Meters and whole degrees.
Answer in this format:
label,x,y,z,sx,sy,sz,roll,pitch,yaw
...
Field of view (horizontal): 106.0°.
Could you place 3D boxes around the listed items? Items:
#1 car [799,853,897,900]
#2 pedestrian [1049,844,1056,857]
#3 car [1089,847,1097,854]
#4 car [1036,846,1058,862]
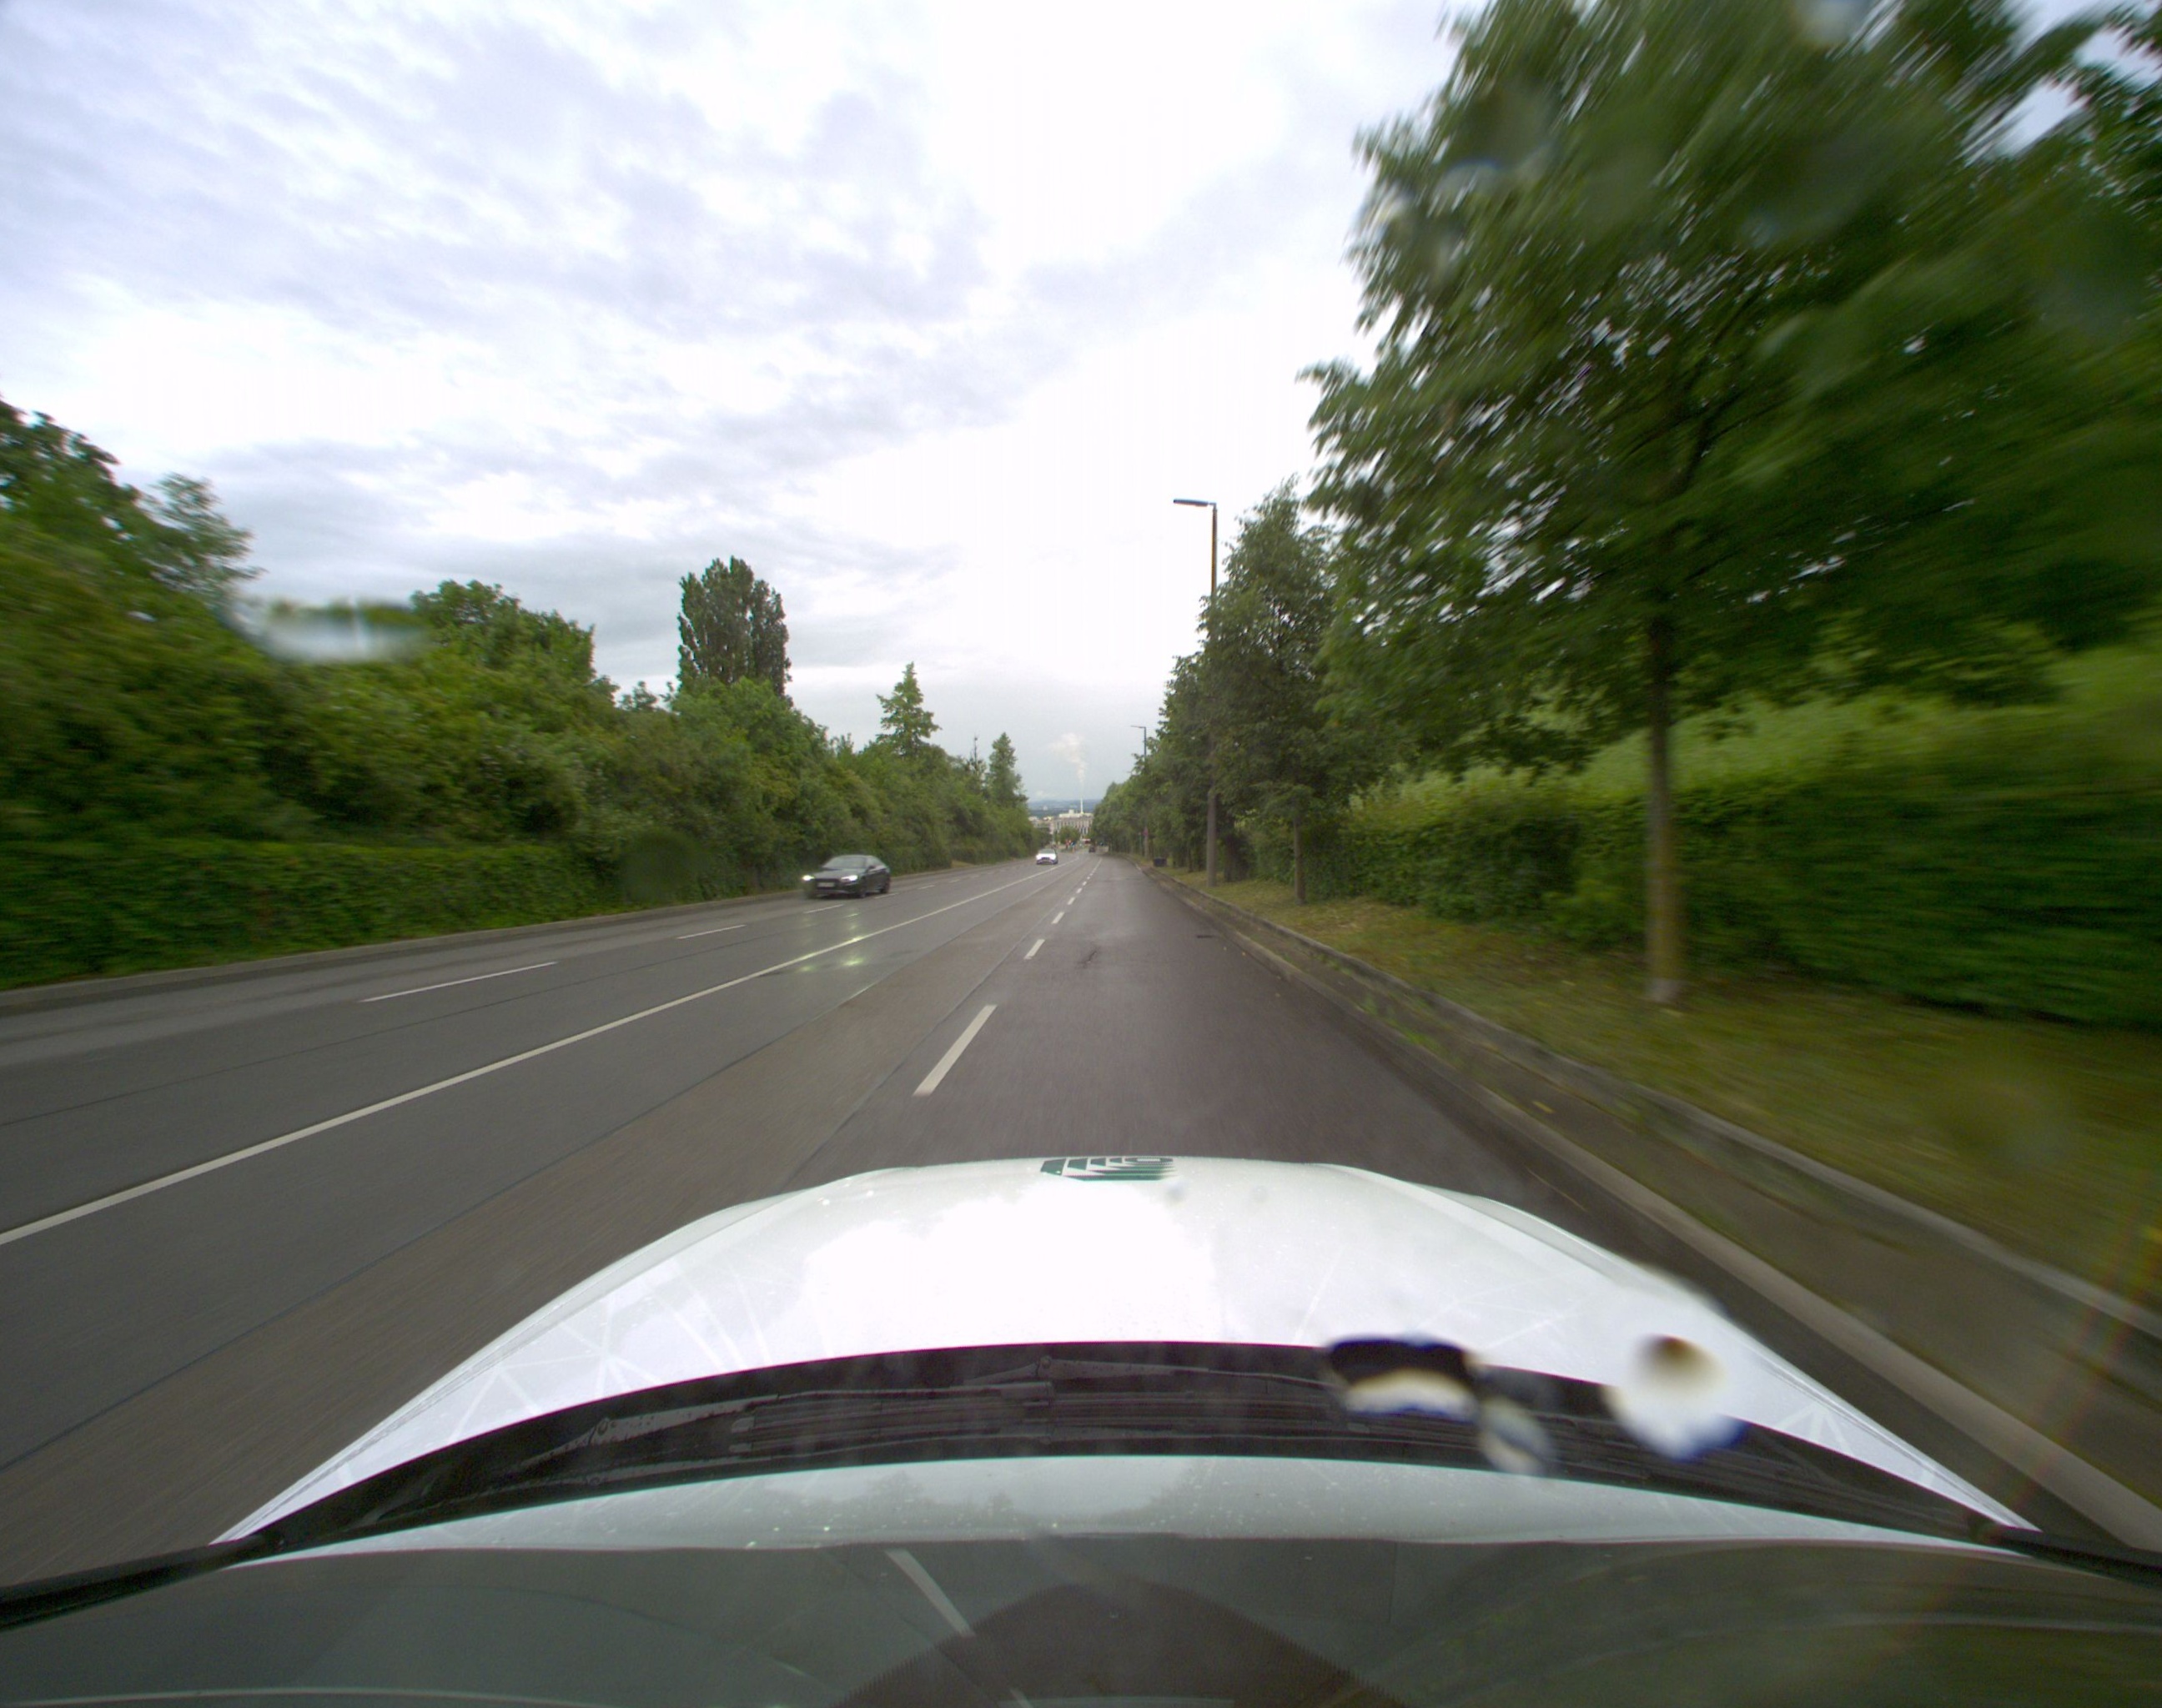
label,x,y,z,sx,sy,sz,roll,pitch,yaw
car,-7.766,0.697,27.661,1.753,1.381,4.841,1,1,2
pedestrian,-3.373,-0.457,95.866,0.802,1.541,1.112,0,0,2
car,3.169,-1.012,216.168,1.843,1.702,3.791,1,-1,-1
car,-3.216,-0.037,78.474,1.708,1.505,4.519,1,1,2
